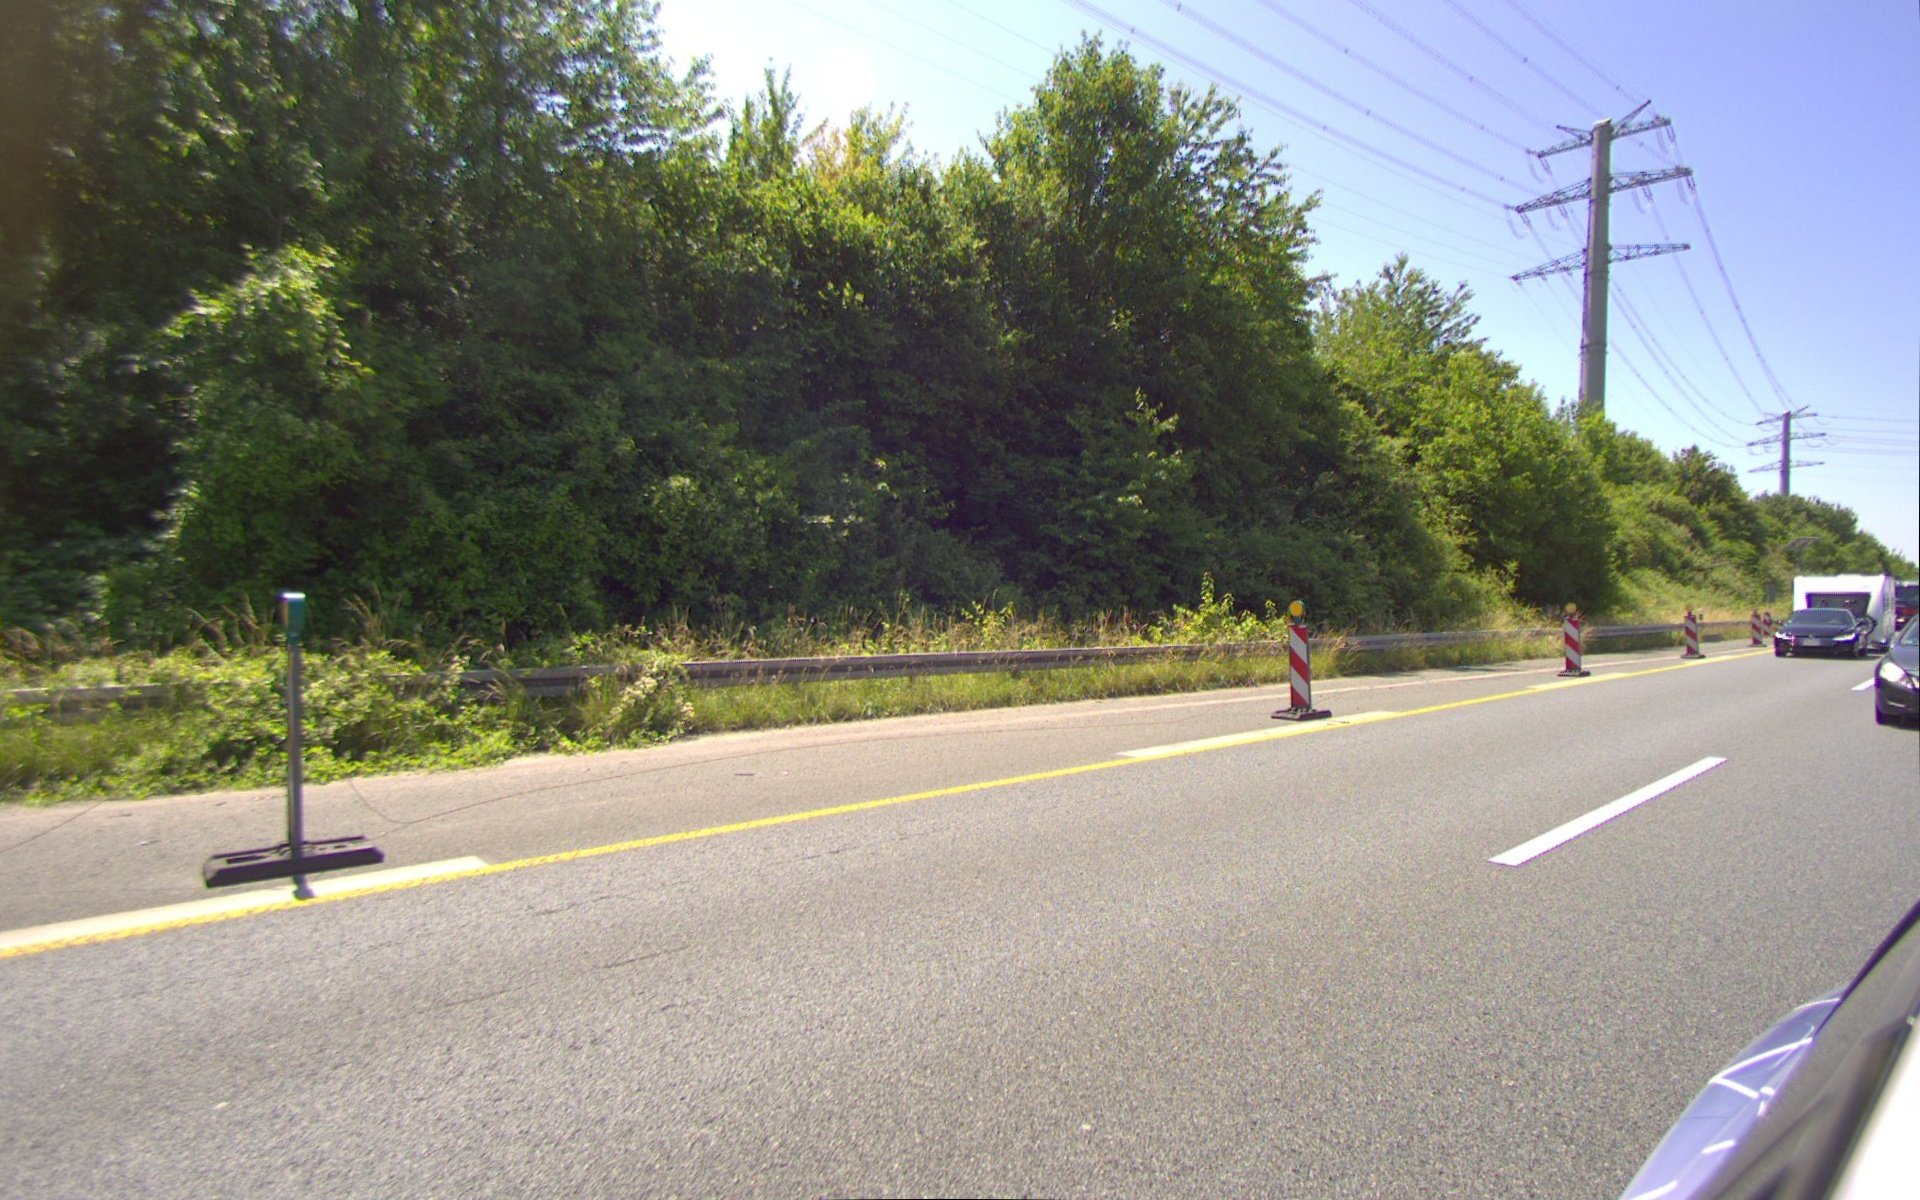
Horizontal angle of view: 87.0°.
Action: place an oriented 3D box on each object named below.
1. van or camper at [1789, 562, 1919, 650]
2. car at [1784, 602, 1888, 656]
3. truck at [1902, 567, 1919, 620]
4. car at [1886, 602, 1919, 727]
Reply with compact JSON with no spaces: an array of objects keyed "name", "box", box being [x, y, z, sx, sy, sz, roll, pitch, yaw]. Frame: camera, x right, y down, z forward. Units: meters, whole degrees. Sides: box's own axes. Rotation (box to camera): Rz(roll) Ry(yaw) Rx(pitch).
[{"name":"van or camper","box":[30.019,0.172,33.766,8.273,2.597,2.429,0,0,-42]},{"name":"car","box":[25.533,0.791,29.456,4.137,1.425,1.798,0,0,-42]},{"name":"truck","box":[61.254,-0.414,63.346,7.512,3.181,2.429,0,-2,-40]},{"name":"car","box":[13.123,0.762,12.730,3.931,1.459,1.797,0,0,-42]}]
